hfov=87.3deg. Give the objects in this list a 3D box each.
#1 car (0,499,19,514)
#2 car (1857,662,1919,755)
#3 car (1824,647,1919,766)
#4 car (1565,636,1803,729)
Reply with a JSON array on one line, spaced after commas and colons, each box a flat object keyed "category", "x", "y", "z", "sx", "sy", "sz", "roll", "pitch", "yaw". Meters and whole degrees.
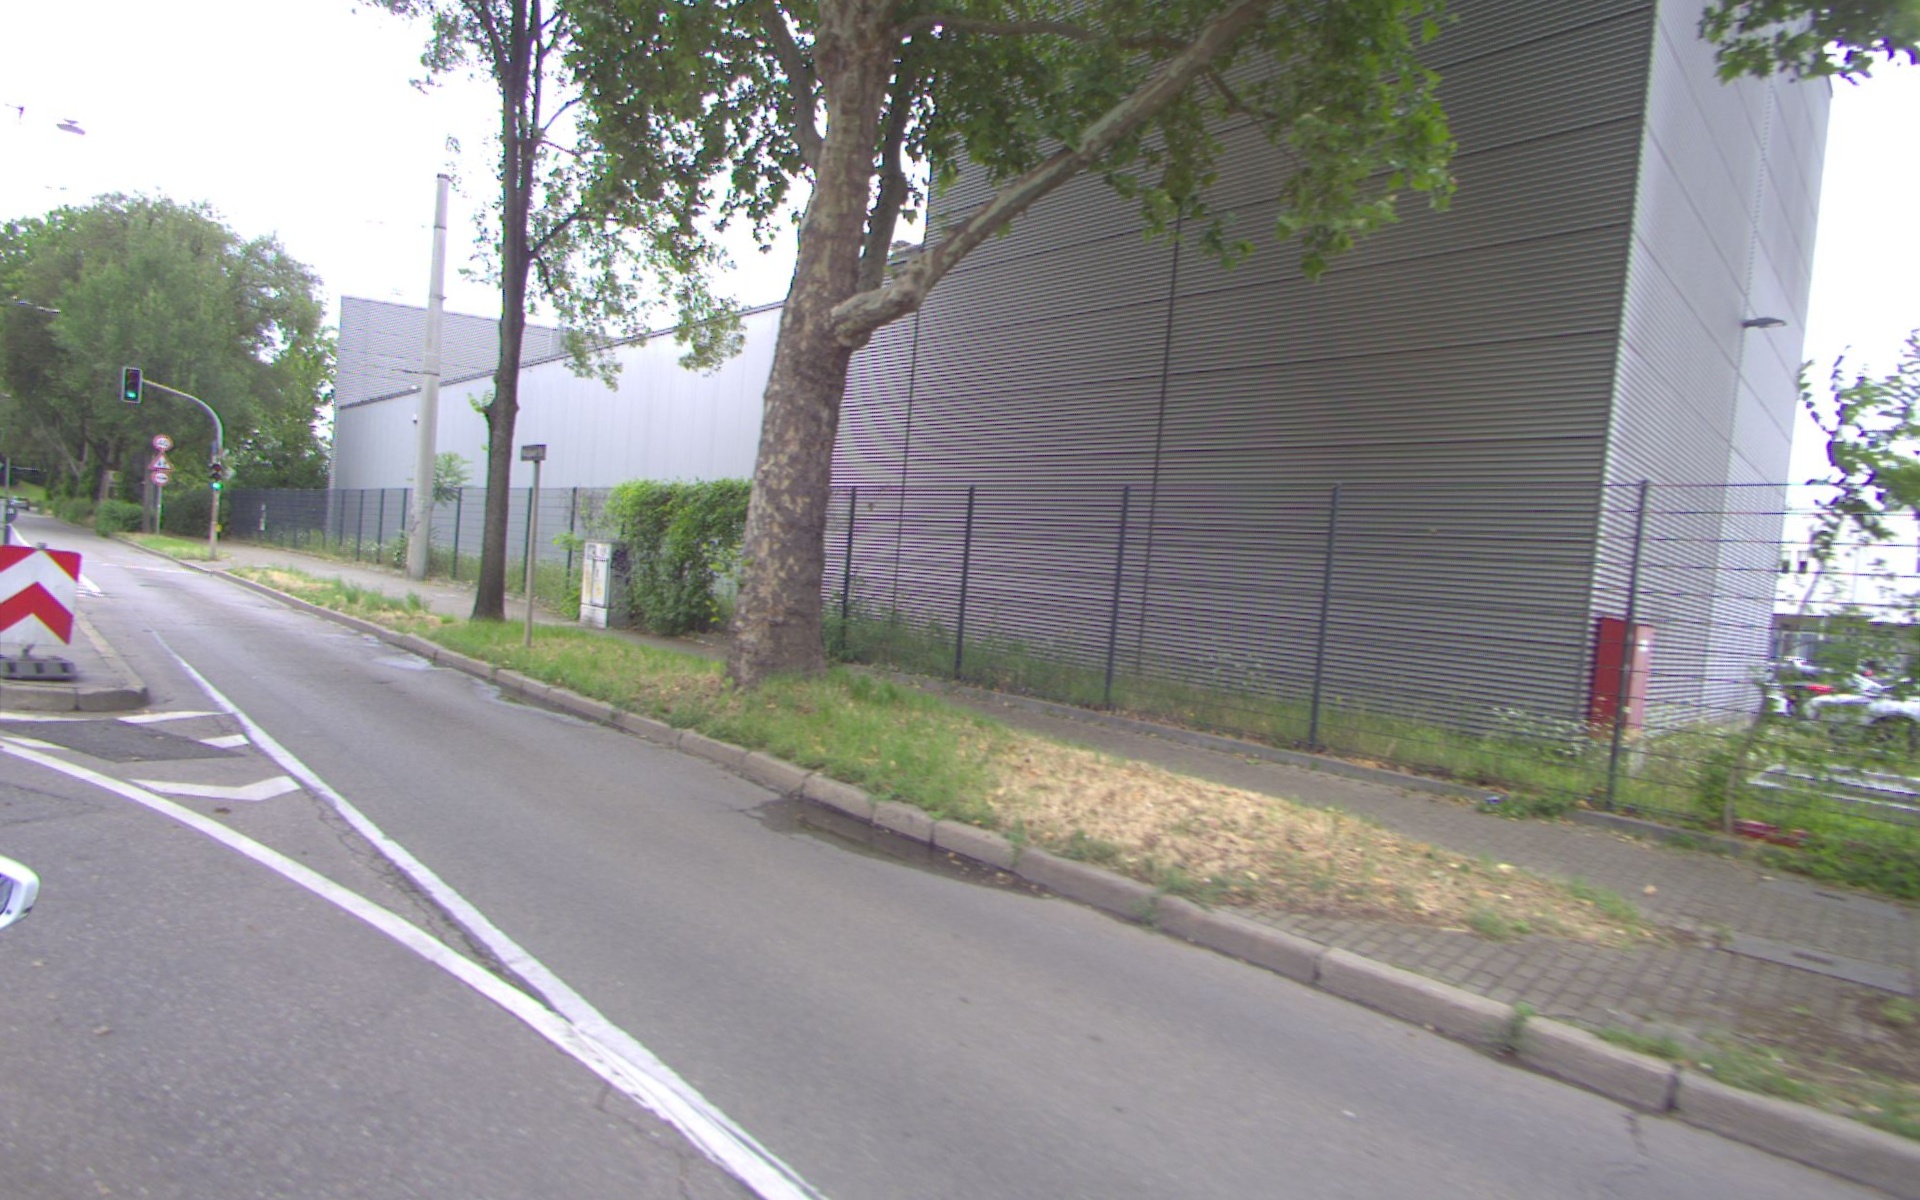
[{"category": "car", "x": -120.630, "y": -11.882, "z": 127.572, "sx": 3.949, "sy": 1.618, "sz": 1.740, "roll": 6, "pitch": -1, "yaw": 45}, {"category": "car", "x": 20.552, "y": 2.315, "z": 19.321, "sx": 4.415, "sy": 1.687, "sz": 1.999, "roll": 6, "pitch": 1, "yaw": 12}, {"category": "car", "x": 15.729, "y": 1.818, "z": 14.967, "sx": 4.212, "sy": 1.669, "sz": 1.991, "roll": 6, "pitch": -1, "yaw": 42}, {"category": "car", "x": 17.620, "y": 1.953, "z": 24.748, "sx": 1.973, "sy": 1.669, "sz": 4.251, "roll": 7, "pitch": -1, "yaw": -21}]
